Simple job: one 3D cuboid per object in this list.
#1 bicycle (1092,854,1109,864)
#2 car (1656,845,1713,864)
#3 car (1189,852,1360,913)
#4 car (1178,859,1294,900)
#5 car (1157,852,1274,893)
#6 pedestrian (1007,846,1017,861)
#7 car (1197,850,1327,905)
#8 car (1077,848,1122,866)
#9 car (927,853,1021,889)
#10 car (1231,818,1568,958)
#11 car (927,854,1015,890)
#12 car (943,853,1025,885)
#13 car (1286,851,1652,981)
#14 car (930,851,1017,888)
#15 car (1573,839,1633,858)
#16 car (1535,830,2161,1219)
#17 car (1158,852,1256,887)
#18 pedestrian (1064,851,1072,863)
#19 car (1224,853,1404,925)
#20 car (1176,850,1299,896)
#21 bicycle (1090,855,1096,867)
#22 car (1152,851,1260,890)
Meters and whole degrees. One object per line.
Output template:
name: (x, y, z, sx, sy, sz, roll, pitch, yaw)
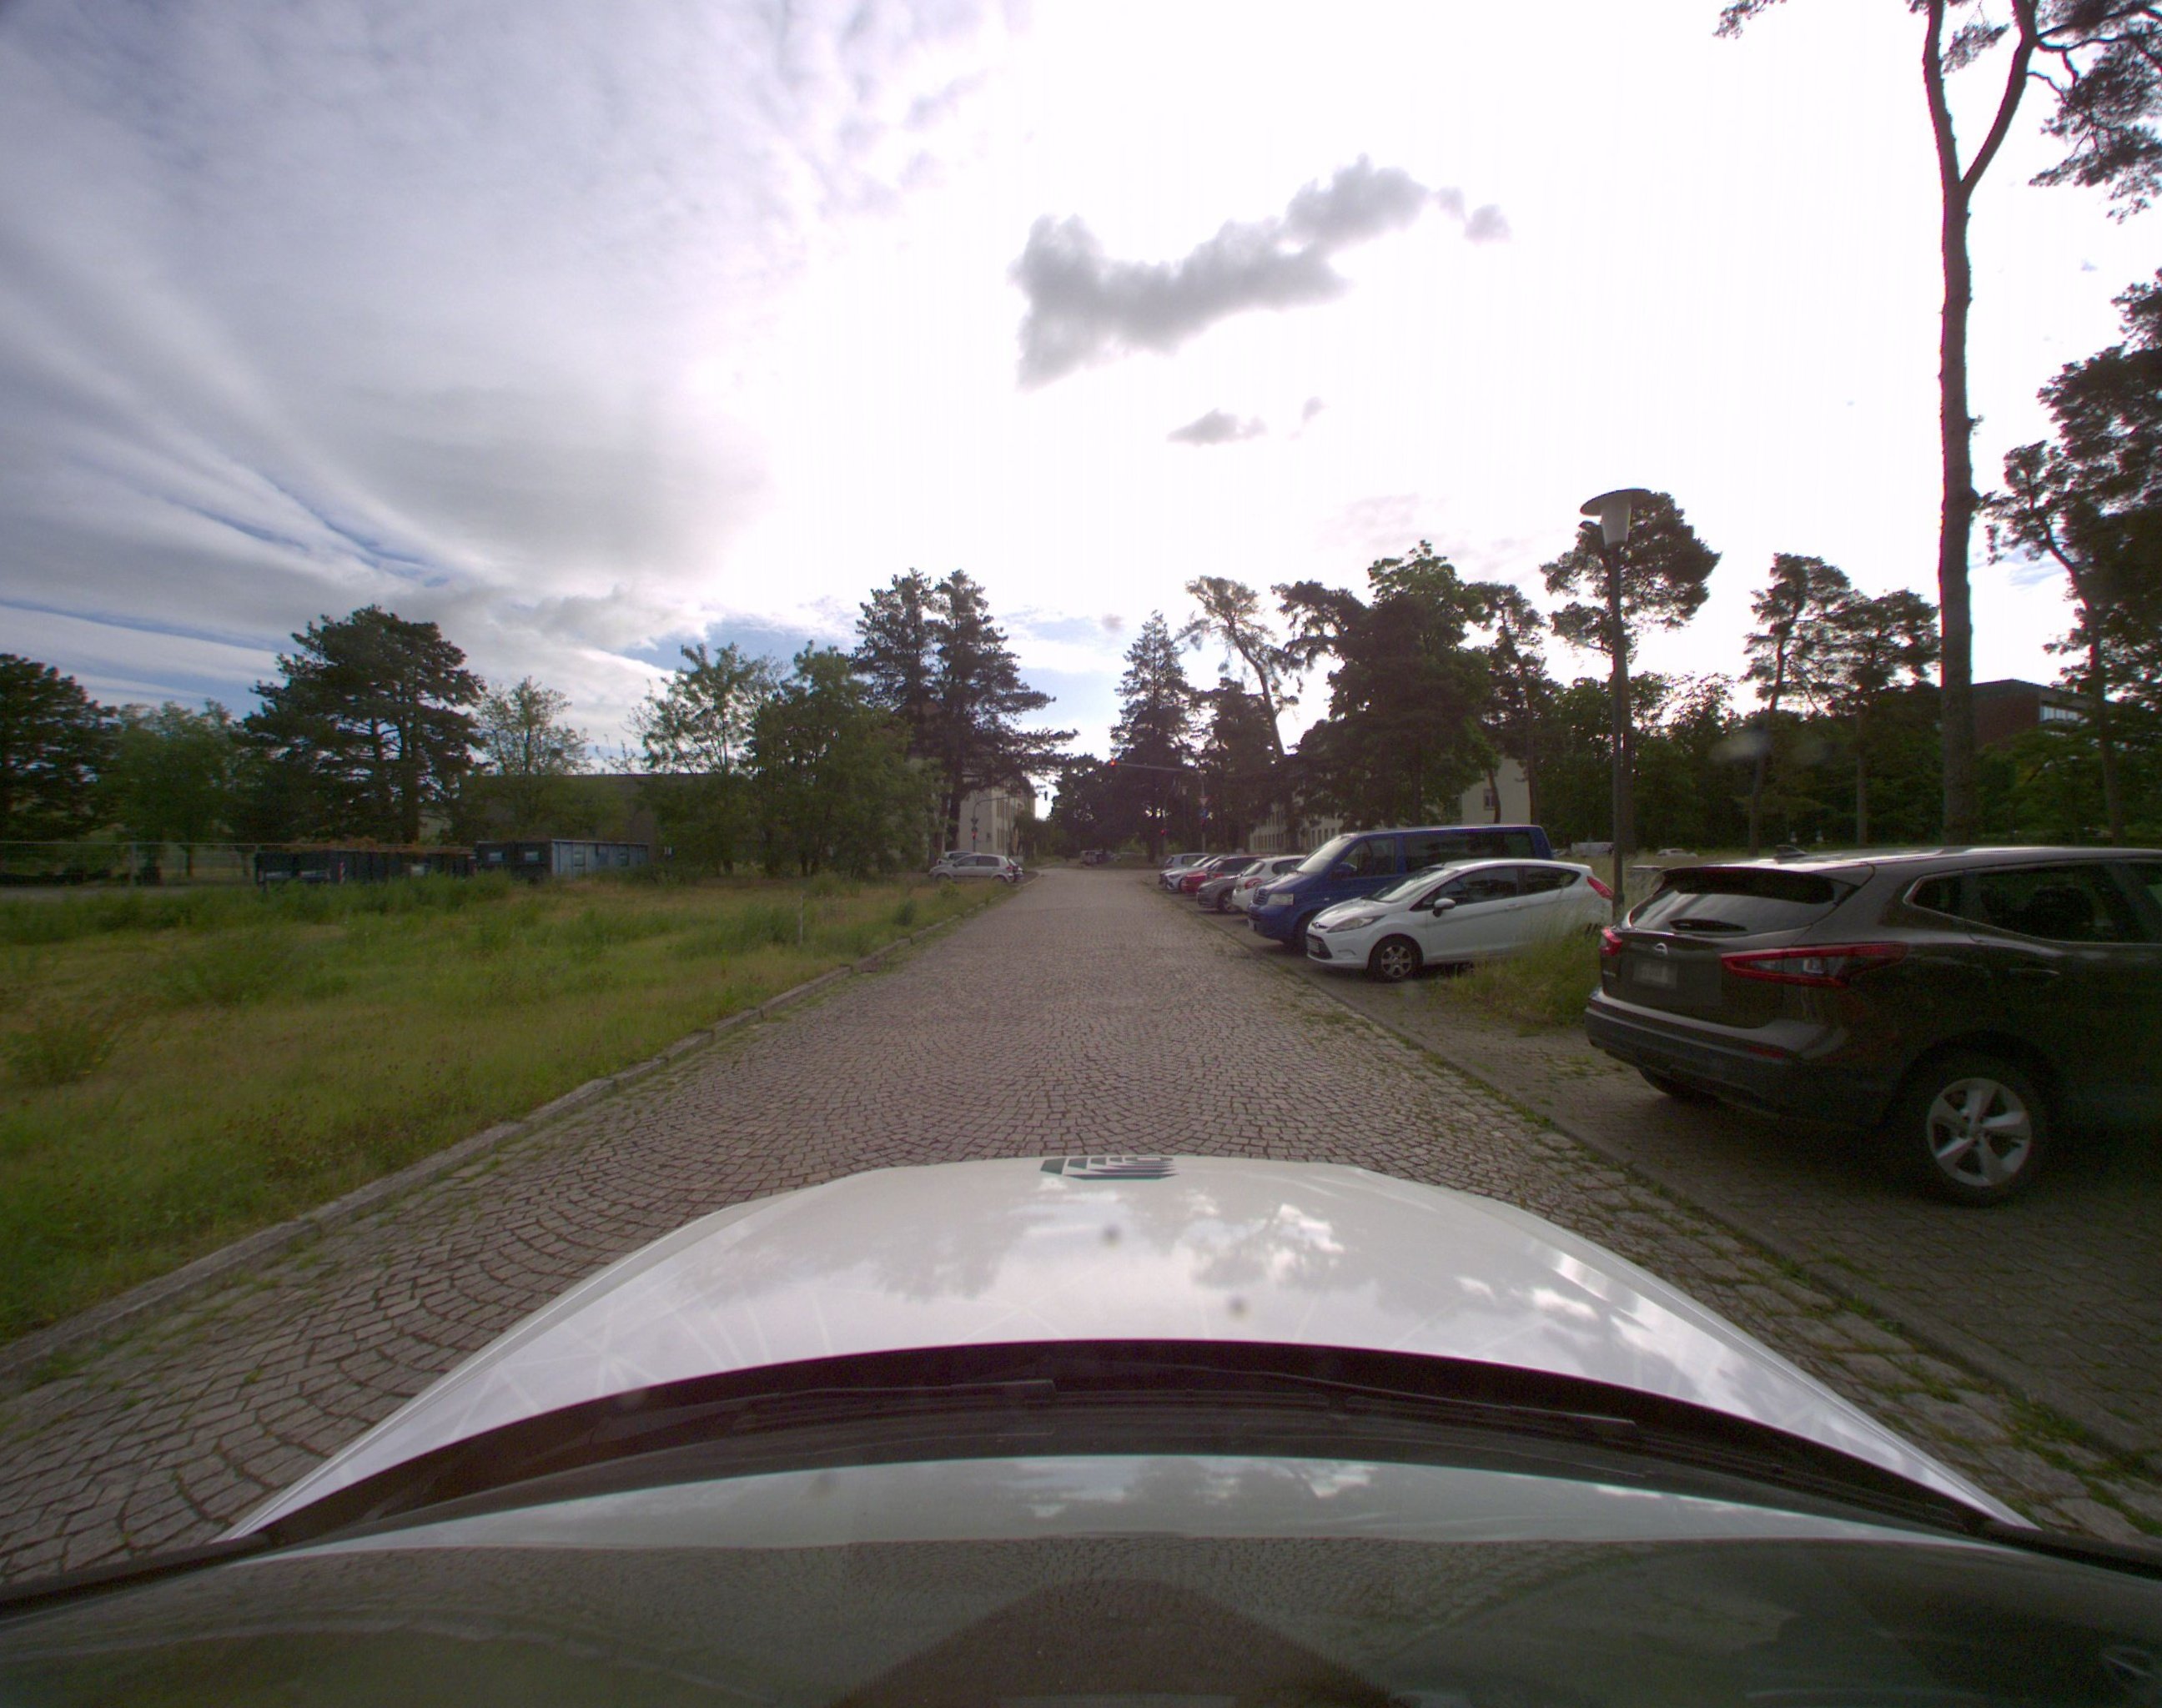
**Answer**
bicycle: (2.191, 0.586, 92.776, 1.878, 1.171, 0.664, 1, 0, -5)
car: (58.962, 0.081, 79.633, 4.117, 1.804, 1.901, 1, 0, 2)
car: (5.055, 0.724, 21.653, 4.116, 1.447, 1.766, -2, 0, 0)
car: (5.092, 0.836, 27.146, 3.573, 1.223, 1.629, -2, 0, 1)
car: (5.228, 0.693, 31.851, 4.181, 1.437, 1.751, -2, 0, -7)
pedestrian: (-8.599, -0.068, 101.763, 1.071, 1.959, 1.121, 1, 0, 0)
car: (5.385, 0.684, 24.521, 3.494, 1.487, 1.743, -2, 0, 0)
car: (2.380, 0.372, 104.084, 5.380, 2.101, 2.170, -1, 0, -12)
car: (-5.034, 0.805, 38.813, 4.292, 1.554, 1.808, -2, 0, -6)
car: (5.072, 0.505, 13.441, 4.782, 2.004, 1.965, -2, 0, -2)
car: (-4.836, 0.788, 36.217, 3.711, 1.481, 1.671, 2, 0, -3)
car: (-5.224, 0.784, 44.072, 4.292, 1.554, 1.808, -2, 0, -6)
car: (5.026, 0.747, 10.895, 4.088, 1.479, 1.720, -2, 0, -3)
car: (-5.438, 0.745, 41.618, 4.291, 1.732, 1.650, -2, 0, -5)
car: (57.909, -0.615, 90.365, 5.281, 2.019, 2.106, 1, 0, 1)
car: (5.164, 0.699, 4.539, 4.192, 1.595, 1.952, -2, 0, -2)
car: (5.707, 0.678, 37.172, 4.128, 1.463, 1.631, -2, 0, -5)
pedestrian: (-2.176, 0.491, 133.981, 1.237, 1.959, 1.119, 1, 0, -5)
car: (5.262, 0.758, 18.749, 3.641, 1.479, 1.765, -2, 0, 0)
car: (5.613, 0.665, 29.490, 4.093, 1.476, 1.684, -2, 0, -2)
bicycle: (1.255, 0.708, 84.643, 0.660, 1.171, 1.888, 1, 0, 1)
car: (5.276, 0.664, 34.618, 4.229, 1.479, 1.703, -2, 0, -11)
